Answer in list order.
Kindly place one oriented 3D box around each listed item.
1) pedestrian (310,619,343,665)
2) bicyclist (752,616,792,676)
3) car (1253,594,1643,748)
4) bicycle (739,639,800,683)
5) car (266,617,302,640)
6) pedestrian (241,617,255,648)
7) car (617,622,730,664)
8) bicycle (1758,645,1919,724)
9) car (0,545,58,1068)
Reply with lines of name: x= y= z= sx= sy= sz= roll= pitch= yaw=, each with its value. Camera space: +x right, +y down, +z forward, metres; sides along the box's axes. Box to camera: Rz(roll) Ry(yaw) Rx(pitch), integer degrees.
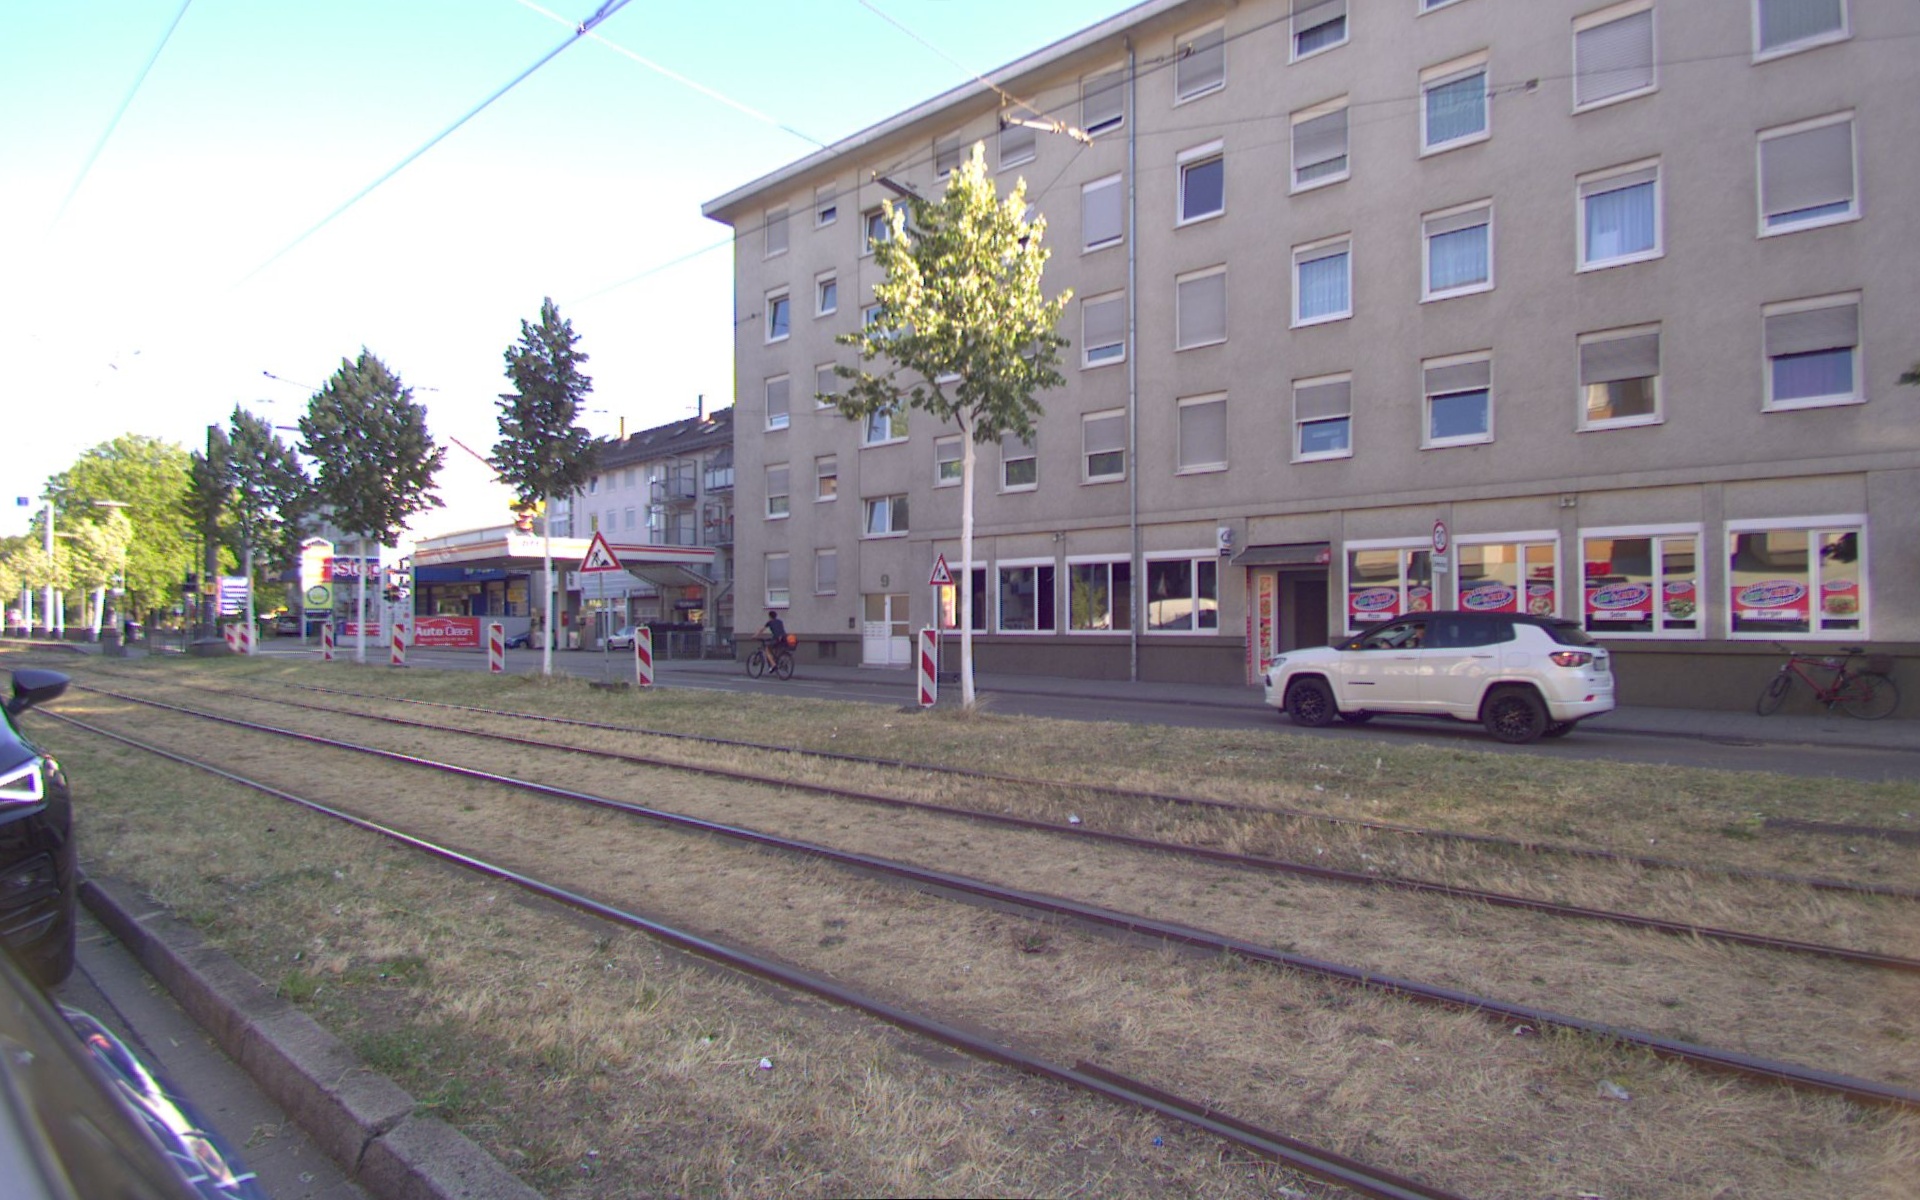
pedestrian: x=-18.333 y=1.210 z=29.277 sx=0.581 sy=1.280 sz=0.655 roll=-2 pitch=-1 yaw=42
bicyclist: x=-4.711 y=1.146 z=25.372 sx=0.649 sy=1.457 sz=0.769 roll=-2 pitch=-2 yaw=41
car: x=6.473 y=0.888 z=13.735 sx=4.393 sy=1.748 sz=1.972 roll=-2 pitch=-3 yaw=43
bicycle: x=-4.799 y=1.509 z=25.437 sx=1.860 sy=1.052 sz=0.441 roll=-2 pitch=-2 yaw=41
car: x=-49.977 y=2.091 z=74.782 sx=1.756 sy=1.567 sz=4.006 roll=-1 pitch=0 yaw=-40
pedestrian: x=-46.813 y=2.143 z=66.539 sx=0.583 sy=2.029 sz=0.623 roll=-2 pitch=-2 yaw=42
car: x=-10.733 y=1.607 z=38.090 sx=1.906 sy=1.481 sz=3.680 roll=-4 pitch=-4 yaw=40
bicycle: x=12.794 y=1.204 z=14.716 sx=1.844 sy=1.031 sz=0.601 roll=-1 pitch=0 yaw=41
car: x=-5.095 y=0.714 z=4.035 sx=3.998 sy=1.690 sz=1.752 roll=-1 pitch=0 yaw=41
